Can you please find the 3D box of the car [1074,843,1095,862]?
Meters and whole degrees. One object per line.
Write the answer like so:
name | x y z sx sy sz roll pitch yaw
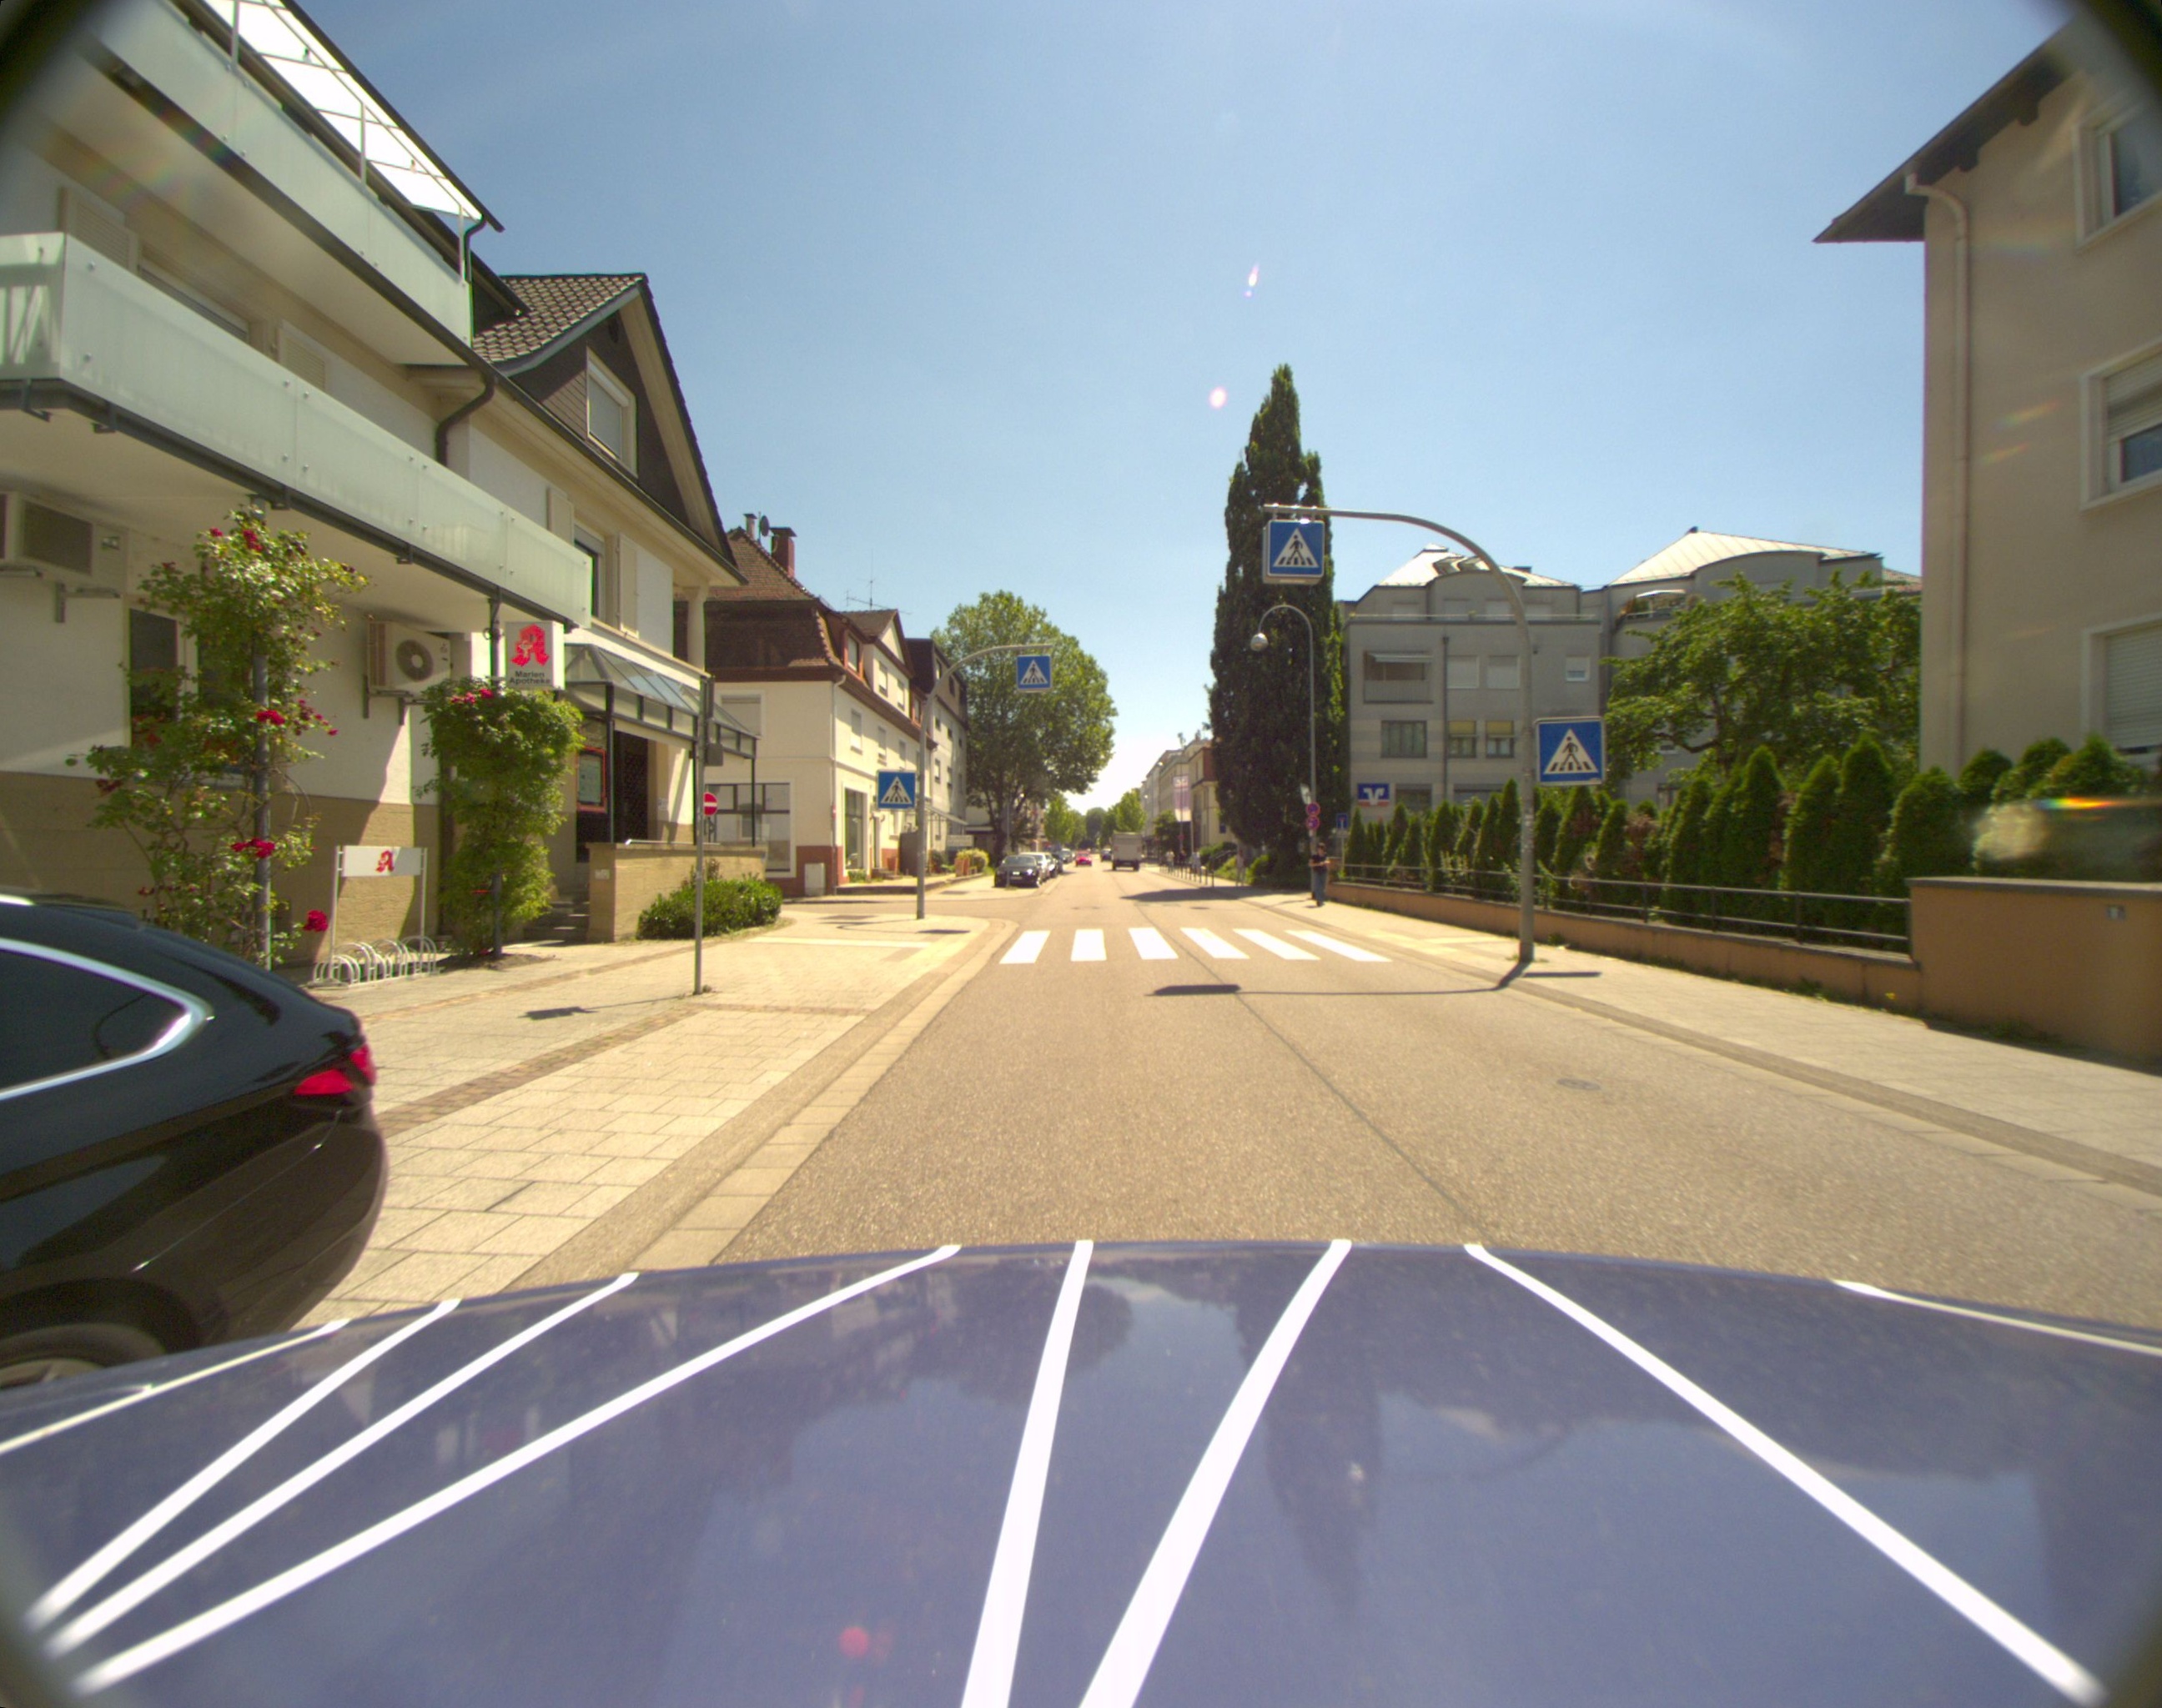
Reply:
car | 0.352 -0.157 79.236 2.000 1.880 4.293 -2 1 0

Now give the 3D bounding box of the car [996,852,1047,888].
car | -2.552 0.646 33.617 1.831 1.418 4.700 1 1 1

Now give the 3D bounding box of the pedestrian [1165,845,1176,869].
pedestrian | 6.412 0.230 54.306 0.622 1.667 0.903 -3 1 0

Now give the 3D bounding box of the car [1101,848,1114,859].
car | 3.782 -0.119 109.317 1.834 1.502 4.262 -1 1 1

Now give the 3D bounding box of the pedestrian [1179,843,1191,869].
pedestrian | 7.385 0.140 53.988 0.750 1.760 0.951 -1 1 0

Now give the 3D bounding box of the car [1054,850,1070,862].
car | -2.267 0.184 91.810 1.818 1.379 4.114 0 1 0

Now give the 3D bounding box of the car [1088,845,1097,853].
car | 2.353 -1.065 157.703 1.698 1.594 3.811 0 1 0

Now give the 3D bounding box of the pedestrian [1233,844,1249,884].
pedestrian | 6.862 0.414 32.625 0.538 1.675 0.708 -1 1 1

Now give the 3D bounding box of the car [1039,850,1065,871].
car | -2.147 0.473 57.161 1.834 1.502 4.758 -1 1 -2

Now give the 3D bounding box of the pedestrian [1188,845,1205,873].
pedestrian | 6.980 0.284 46.068 0.847 1.635 0.751 -3 1 2

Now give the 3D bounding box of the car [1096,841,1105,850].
car | 3.749 -1.634 147.047 1.731 1.500 4.293 -2 1 0

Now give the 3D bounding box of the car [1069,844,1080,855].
car | -1.040 -0.734 127.715 1.731 1.861 4.114 0 1 0

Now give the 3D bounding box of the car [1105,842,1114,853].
car | 5.860 -1.339 156.184 1.731 2.154 4.293 1 1 0

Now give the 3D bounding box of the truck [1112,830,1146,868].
truck | 3.835 -0.413 62.038 2.426 2.966 6.257 0 1 1

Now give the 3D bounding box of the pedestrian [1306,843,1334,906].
pedestrian | 6.492 0.537 20.691 0.538 1.675 0.708 -1 1 1

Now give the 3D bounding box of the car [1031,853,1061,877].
car | -2.030 0.612 45.230 1.561 1.333 4.173 1 1 0

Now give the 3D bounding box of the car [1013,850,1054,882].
car | -2.403 0.580 39.608 1.748 1.460 4.851 2 1 1
